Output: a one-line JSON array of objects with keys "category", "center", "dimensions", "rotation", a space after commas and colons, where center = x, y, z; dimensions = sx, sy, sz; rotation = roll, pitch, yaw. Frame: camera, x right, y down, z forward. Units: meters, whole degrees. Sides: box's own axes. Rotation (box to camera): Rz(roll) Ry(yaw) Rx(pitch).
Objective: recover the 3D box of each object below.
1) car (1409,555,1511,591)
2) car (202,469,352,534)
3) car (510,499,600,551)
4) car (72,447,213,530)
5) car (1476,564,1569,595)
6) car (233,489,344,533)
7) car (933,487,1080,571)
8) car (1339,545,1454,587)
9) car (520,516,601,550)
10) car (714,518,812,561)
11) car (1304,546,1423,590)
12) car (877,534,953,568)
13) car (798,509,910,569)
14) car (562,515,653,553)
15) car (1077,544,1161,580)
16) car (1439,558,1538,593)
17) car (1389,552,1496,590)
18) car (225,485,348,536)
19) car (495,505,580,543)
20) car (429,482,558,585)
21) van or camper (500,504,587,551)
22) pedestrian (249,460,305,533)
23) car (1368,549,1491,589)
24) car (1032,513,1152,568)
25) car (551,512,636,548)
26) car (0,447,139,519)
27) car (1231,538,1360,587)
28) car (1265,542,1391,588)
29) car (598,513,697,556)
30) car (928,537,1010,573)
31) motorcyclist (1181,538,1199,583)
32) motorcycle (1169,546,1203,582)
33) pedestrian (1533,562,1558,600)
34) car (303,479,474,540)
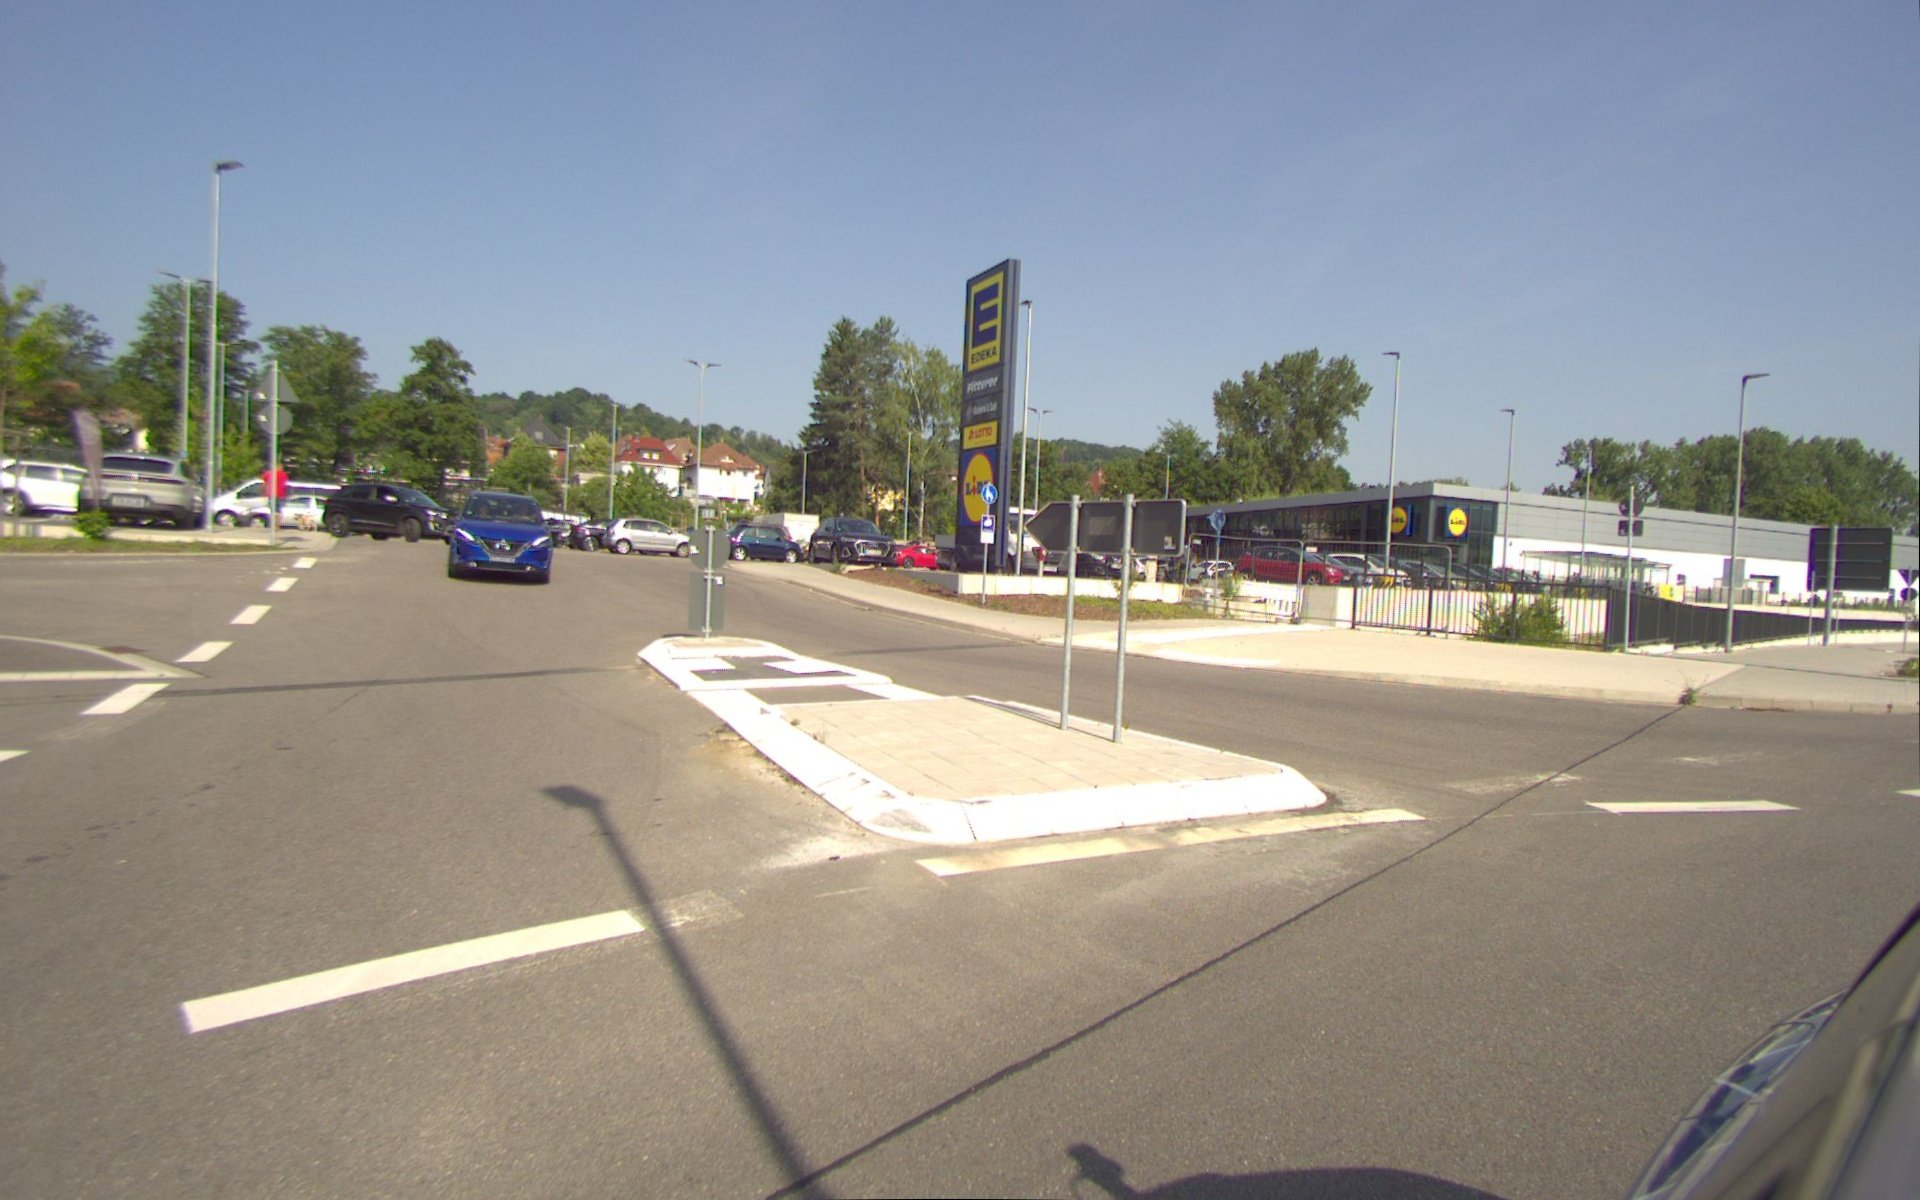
[{"category": "car", "center": [23.402, -1.247, 47.408], "dimensions": [3.986, 1.594, 1.678], "rotation": [2, 0, 43]}, {"category": "car", "center": [-26.239, -3.727, 38.963], "dimensions": [4.566, 2.039, 1.997], "rotation": [1, 0, -42]}, {"category": "car", "center": [-23.724, -4.343, 59.284], "dimensions": [4.554, 2.650, 2.002], "rotation": [1, 0, -31]}, {"category": "car", "center": [-18.962, -2.599, 23.697], "dimensions": [1.821, 1.574, 4.830], "rotation": [4, 3, -31]}, {"category": "car", "center": [30.493, -1.100, 54.893], "dimensions": [4.117, 1.594, 1.678], "rotation": [2, 0, 43]}, {"category": "car", "center": [-24.570, -3.230, 37.066], "dimensions": [3.273, 1.367, 1.626], "rotation": [0, 1, -39]}, {"category": "car", "center": [1.383, -2.207, 33.421], "dimensions": [2.018, 2.413, 6.101], "rotation": [1, 0, -27]}, {"category": "car", "center": [17.767, -1.363, 41.318], "dimensions": [3.986, 1.594, 1.678], "rotation": [2, 0, 43]}, {"category": "car", "center": [-20.463, -3.410, 51.878], "dimensions": [3.566, 1.463, 1.524], "rotation": [1, 0, -40]}, {"category": "car", "center": [-8.426, -2.543, 43.298], "dimensions": [3.711, 1.594, 1.765], "rotation": [1, 0, -31]}, {"category": "car", "center": [15.718, -1.227, 39.510], "dimensions": [3.986, 1.594, 1.678], "rotation": [2, 0, 43]}, {"category": "car", "center": [-2.419, -2.610, 54.488], "dimensions": [3.711, 1.594, 1.765], "rotation": [1, 0, -31]}, {"category": "car", "center": [-3.337, -1.784, 30.878], "dimensions": [1.882, 1.549, 4.869], "rotation": [1, 0, -25]}, {"category": "car", "center": [-14.928, -2.790, 42.901], "dimensions": [3.304, 1.391, 1.525], "rotation": [2, 1, -39]}, {"category": "car", "center": [8.177, -1.904, 51.903], "dimensions": [3.922, 1.638, 2.001], "rotation": [1, 0, -34]}, {"category": "car", "center": [25.878, -1.193, 49.609], "dimensions": [3.986, 1.594, 1.678], "rotation": [2, 0, 43]}, {"category": "car", "center": [21.427, -1.286, 44.987], "dimensions": [3.986, 1.594, 1.678], "rotation": [2, 0, 43]}, {"category": "car", "center": [-27.332, -3.584, 41.097], "dimensions": [3.930, 1.660, 1.870], "rotation": [1, 0, -42]}, {"category": "car", "center": [-25.939, -4.627, 62.161], "dimensions": [4.554, 2.001, 2.002], "rotation": [1, 0, -31]}, {"category": "car", "center": [-9.522, -1.417, 20.465], "dimensions": [1.849, 1.682, 4.363], "rotation": [2, 6, -31]}, {"category": "van or camper", "center": [-28.536, -4.916, 69.448], "dimensions": [5.181, 2.883, 2.297], "rotation": [1, 0, -31]}, {"category": "pedestrian", "center": [-17.292, -2.600, 25.627], "dimensions": [0.746, 1.763, 0.877], "rotation": [1, 0, 14]}, {"category": "car", "center": [19.842, -1.317, 42.882], "dimensions": [4.400, 1.594, 1.677], "rotation": [2, 0, 43]}, {"category": "car", "center": [4.392, -1.940, 34.353], "dimensions": [1.795, 1.622, 4.484], "rotation": [1, 0, -27]}, {"category": "car", "center": [-17.365, -3.298, 48.011], "dimensions": [3.558, 1.463, 1.527], "rotation": [1, 0, -30]}, {"category": "car", "center": [-28.338, -3.594, 31.150], "dimensions": [4.489, 1.903, 2.002], "rotation": [1, 2, -32]}, {"category": "car", "center": [11.843, -1.310, 35.878], "dimensions": [1.750, 1.594, 4.012], "rotation": [1, 0, -45]}, {"category": "car", "center": [13.527, -1.273, 37.308], "dimensions": [1.750, 1.594, 4.012], "rotation": [1, 0, -45]}, {"category": "car", "center": [-12.601, -2.607, 40.805], "dimensions": [3.558, 1.463, 1.527], "rotation": [1, 0, -30]}, {"category": "car", "center": [0.469, -2.174, 49.943], "dimensions": [3.711, 1.594, 1.668], "rotation": [1, 0, -31]}, {"category": "motorcyclist", "center": [8.173, -1.399, 35.901], "dimensions": [0.509, 1.562, 0.578], "rotation": [1, 0, 22]}, {"category": "motorcycle", "center": [7.873, -1.232, 35.352], "dimensions": [0.579, 1.206, 1.905], "rotation": [3, 1, -4]}, {"category": "pedestrian", "center": [32.045, -1.021, 55.405], "dimensions": [0.846, 2.039, 0.834], "rotation": [2, 0, -32]}, {"category": "car", "center": [-16.164, -2.551, 28.680], "dimensions": [4.164, 1.409, 1.639], "rotation": [5, 4, 11]}]
